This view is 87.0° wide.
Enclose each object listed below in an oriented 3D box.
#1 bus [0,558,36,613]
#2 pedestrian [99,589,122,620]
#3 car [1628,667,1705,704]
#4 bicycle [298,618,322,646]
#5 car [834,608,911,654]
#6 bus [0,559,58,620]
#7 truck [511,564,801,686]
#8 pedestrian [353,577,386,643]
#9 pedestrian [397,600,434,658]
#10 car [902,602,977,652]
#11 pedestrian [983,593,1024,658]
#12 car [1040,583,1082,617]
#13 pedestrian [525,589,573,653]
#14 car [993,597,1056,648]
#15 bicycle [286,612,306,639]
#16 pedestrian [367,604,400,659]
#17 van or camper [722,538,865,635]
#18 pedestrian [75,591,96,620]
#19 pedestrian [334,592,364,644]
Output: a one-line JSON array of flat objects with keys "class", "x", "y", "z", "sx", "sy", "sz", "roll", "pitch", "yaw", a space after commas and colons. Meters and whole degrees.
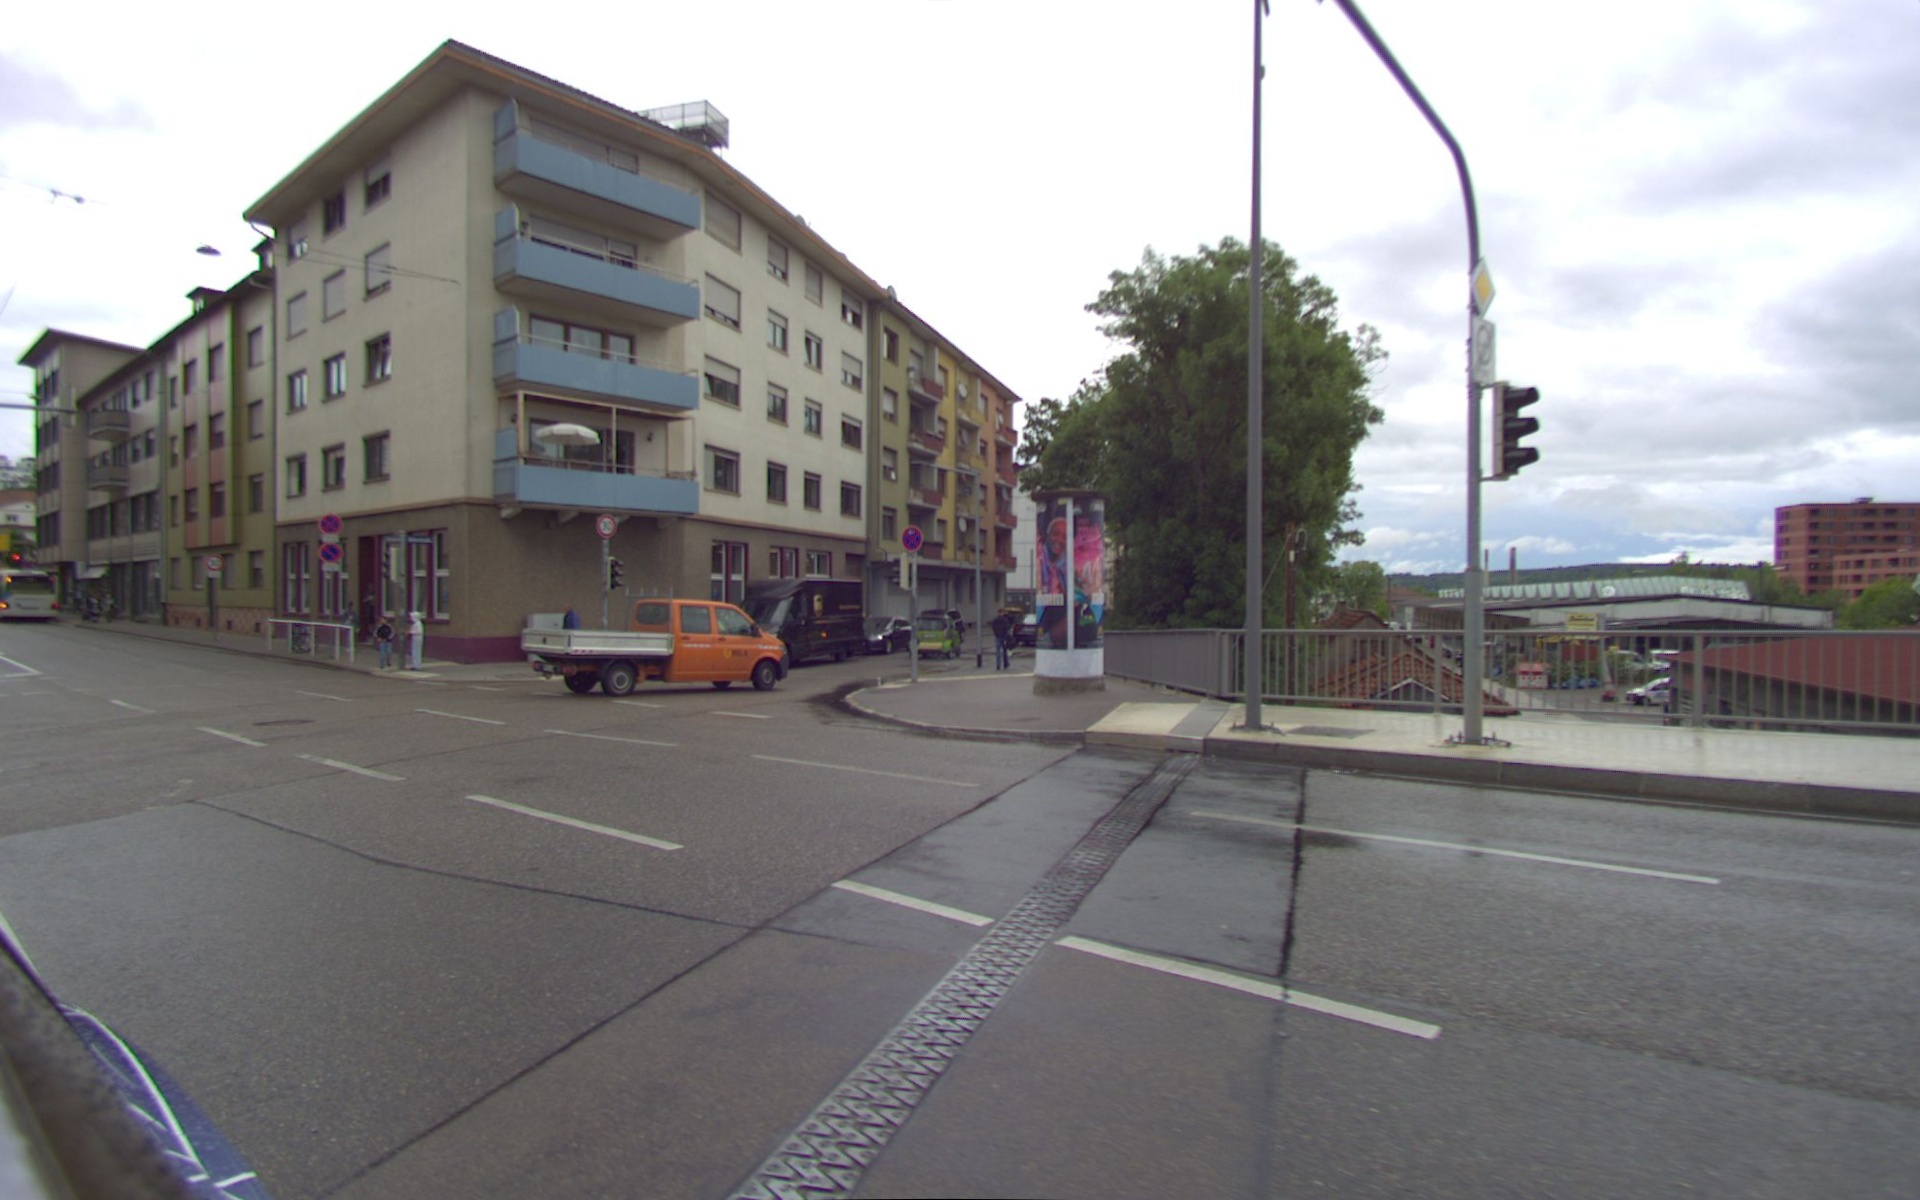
[{"class": "bus", "x": -62.099, "y": -0.994, "z": 65.251, "sx": 8.909, "sy": 3.212, "sz": 2.730, "roll": 4, "pitch": 3, "yaw": 41}, {"class": "pedestrian", "x": -46.492, "y": 0.247, "z": 55.388, "sx": 0.711, "sy": 1.626, "sz": 0.828, "roll": 3, "pitch": 2, "yaw": 41}, {"class": "car", "x": 48.796, "y": 5.870, "z": 69.969, "sx": 3.979, "sy": 2.028, "sz": 1.983, "roll": 3, "pitch": 2, "yaw": 26}, {"class": "bicycle", "x": -20.777, "y": 1.005, "z": 32.350, "sx": 1.421, "sy": 0.789, "sz": 0.261, "roll": 4, "pitch": 2, "yaw": 41}, {"class": "car", "x": -3.350, "y": 1.169, "z": 39.421, "sx": 1.852, "sy": 1.510, "sz": 3.687, "roll": 2, "pitch": 2, "yaw": 14}, {"class": "bus", "x": -56.103, "y": -0.721, "z": 60.057, "sx": 9.289, "sy": 3.212, "sz": 2.697, "roll": 4, "pitch": 3, "yaw": 41}, {"class": "truck", "x": -6.188, "y": 0.423, "z": 21.023, "sx": 5.235, "sy": 2.145, "sz": 2.410, "roll": 0, "pitch": 3, "yaw": -44}, {"class": "pedestrian", "x": -19.443, "y": 0.319, "z": 33.338, "sx": 0.729, "sy": 2.115, "sz": 0.705, "roll": 3, "pitch": 2, "yaw": 38}, {"class": "pedestrian", "x": -14.276, "y": 0.747, "z": 26.536, "sx": 0.660, "sy": 1.468, "sz": 0.636, "roll": 3, "pitch": 2, "yaw": 39}, {"class": "car", "x": -0.698, "y": 0.930, "z": 37.057, "sx": 1.807, "sy": 1.528, "sz": 3.984, "roll": 2, "pitch": 2, "yaw": 13}, {"class": "pedestrian", "x": 1.258, "y": 0.723, "z": 29.102, "sx": 1.050, "sy": 1.770, "sz": 1.070, "roll": 2, "pitch": 2, "yaw": 6}, {"class": "car", "x": 6.546, "y": -0.029, "z": 65.261, "sx": 1.982, "sy": 2.028, "sz": 3.980, "roll": 2, "pitch": 2, "yaw": 15}, {"class": "pedestrian", "x": -11.851, "y": 0.591, "z": 29.162, "sx": 1.022, "sy": 1.766, "sz": 0.920, "roll": 4, "pitch": 2, "yaw": 42}, {"class": "car", "x": 2.953, "y": 0.968, "z": 45.401, "sx": 1.982, "sy": 2.028, "sz": 3.980, "roll": 2, "pitch": 2, "yaw": 16}, {"class": "bicycle", "x": -21.137, "y": 0.794, "z": 32.211, "sx": 1.111, "sy": 0.789, "sz": 0.261, "roll": 4, "pitch": 2, "yaw": 41}, {"class": "pedestrian", "x": -15.406, "y": 0.835, "z": 27.061, "sx": 0.649, "sy": 1.398, "sz": 0.539, "roll": 4, "pitch": 7, "yaw": 43}, {"class": "van or camper", "x": -5.161, "y": -0.475, "z": 32.573, "sx": 1.982, "sy": 2.750, "sz": 6.452, "roll": 2, "pitch": 2, "yaw": 15}, {"class": "pedestrian", "x": -47.501, "y": 0.300, "z": 54.972, "sx": 0.711, "sy": 1.546, "sz": 0.791, "roll": 3, "pitch": 2, "yaw": 41}, {"class": "pedestrian", "x": -19.254, "y": 0.553, "z": 31.869, "sx": 0.739, "sy": 1.565, "sz": 0.569, "roll": 3, "pitch": 2, "yaw": 38}]
